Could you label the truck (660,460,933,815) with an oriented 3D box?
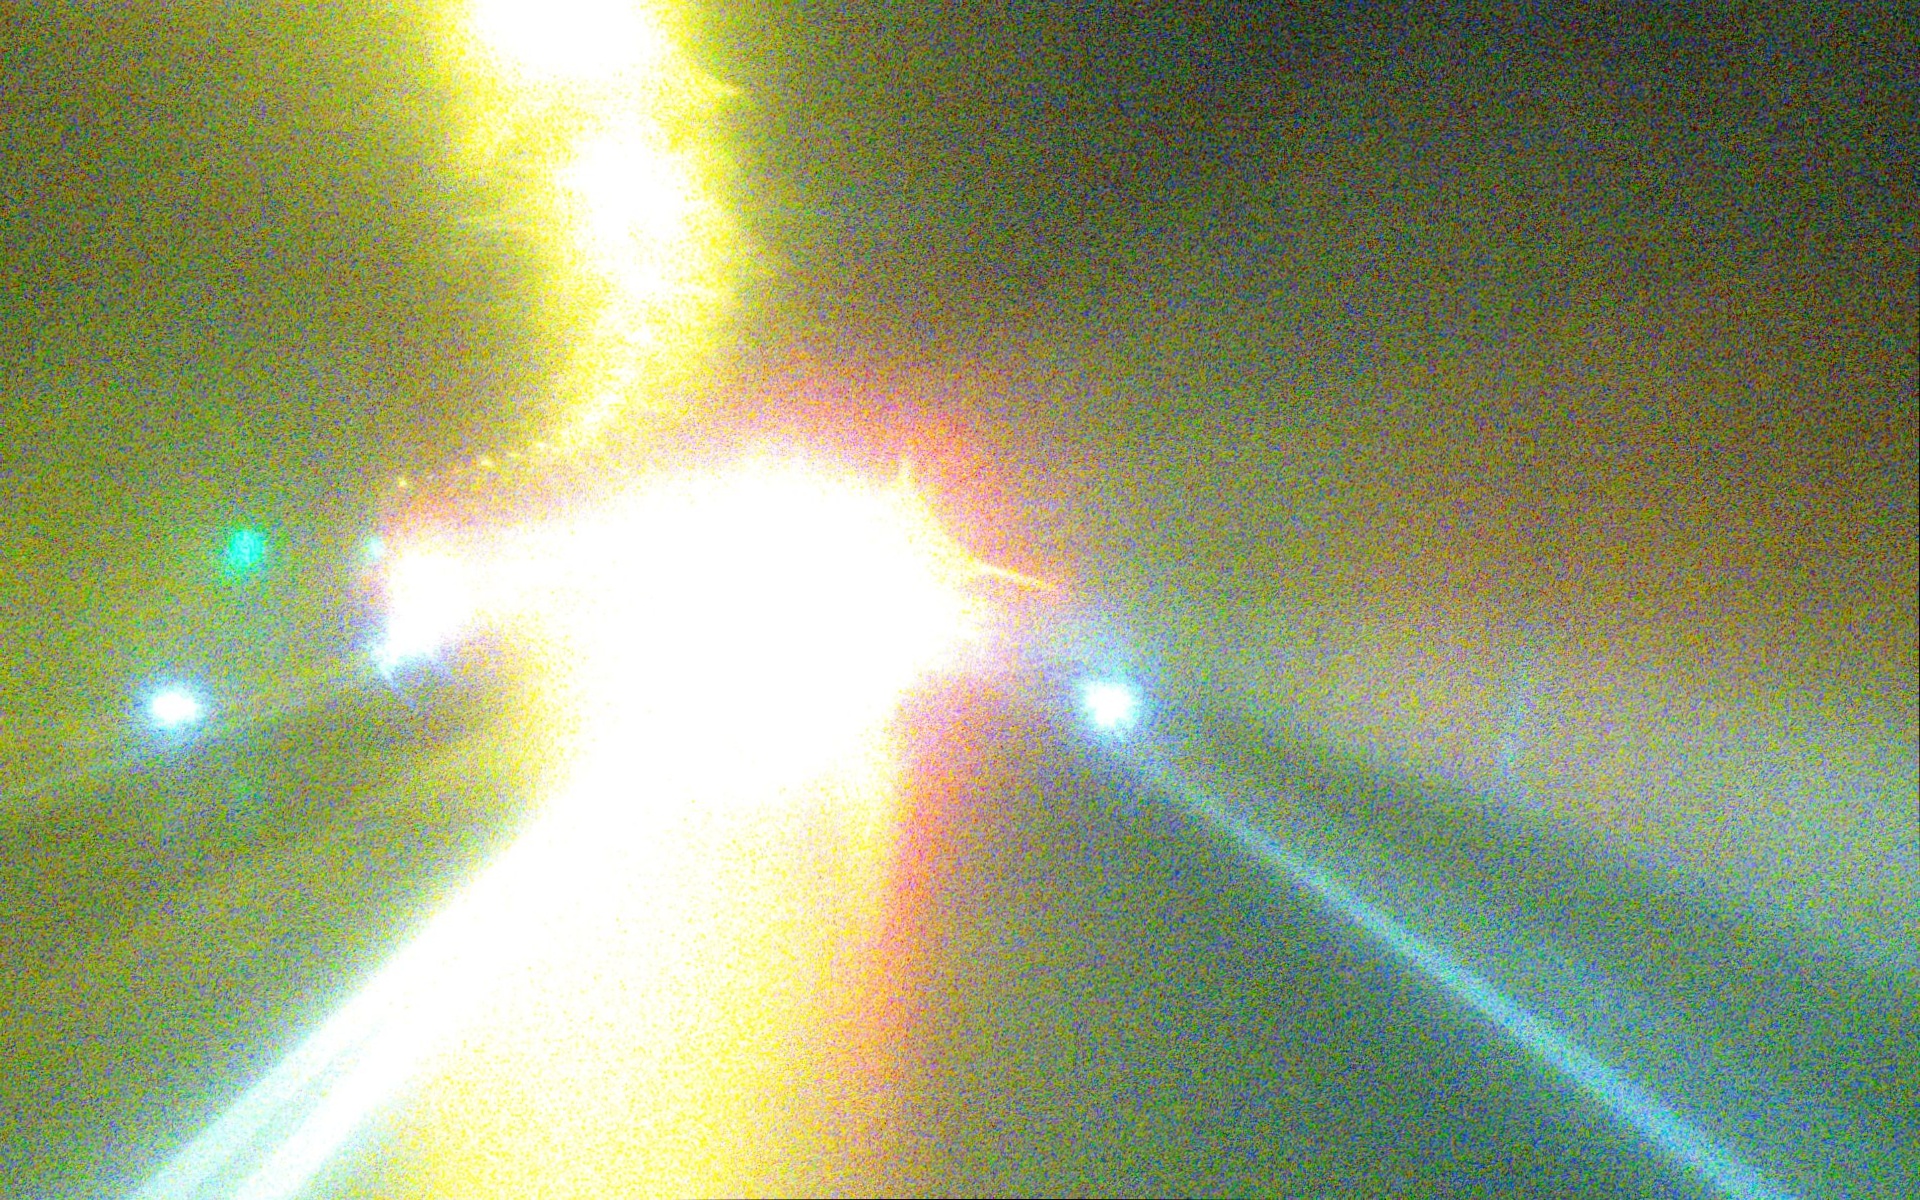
[{"bbox_3d":[-1.521,0.270,33.680,2.262,3.000,7.416,2,1,-2],"label":"truck"}]
